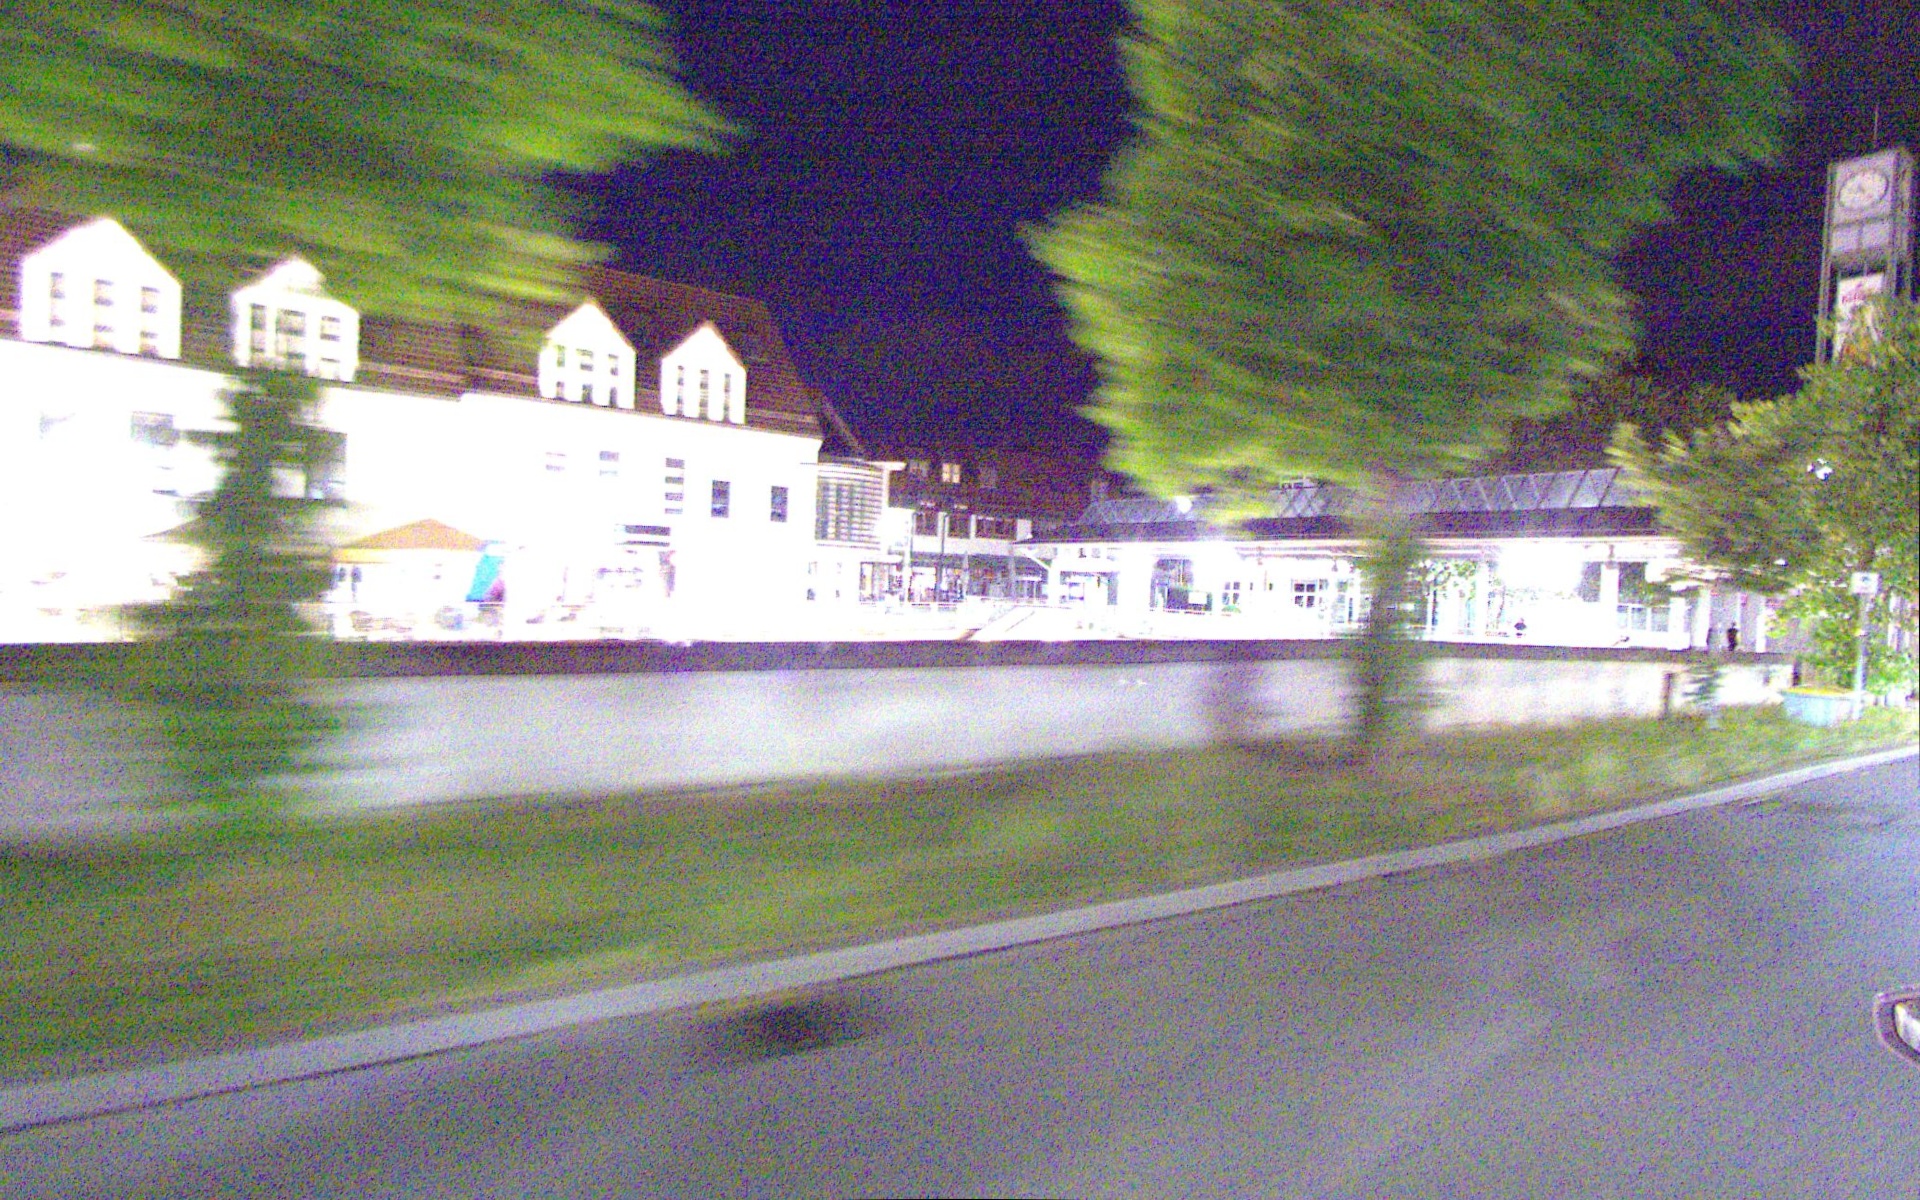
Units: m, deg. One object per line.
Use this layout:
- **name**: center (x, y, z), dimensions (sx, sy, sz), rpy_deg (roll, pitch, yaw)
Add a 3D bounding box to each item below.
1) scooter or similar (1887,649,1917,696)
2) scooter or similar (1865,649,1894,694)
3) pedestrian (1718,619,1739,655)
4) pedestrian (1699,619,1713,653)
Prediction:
- **scooter or similar**: center (24.202, 1.842, 25.807), dimensions (0.995, 1.150, 0.426), rpy_deg (1, 0, -40)
- **scooter or similar**: center (23.969, 1.853, 26.179), dimensions (0.995, 1.121, 0.426), rpy_deg (1, 0, -40)
- **pedestrian**: center (34.403, 1.652, 44.978), dimensions (0.503, 1.566, 0.527), rpy_deg (1, 0, -15)
- **pedestrian**: center (34.047, 1.636, 45.854), dimensions (0.454, 1.566, 0.479), rpy_deg (1, 0, 45)
